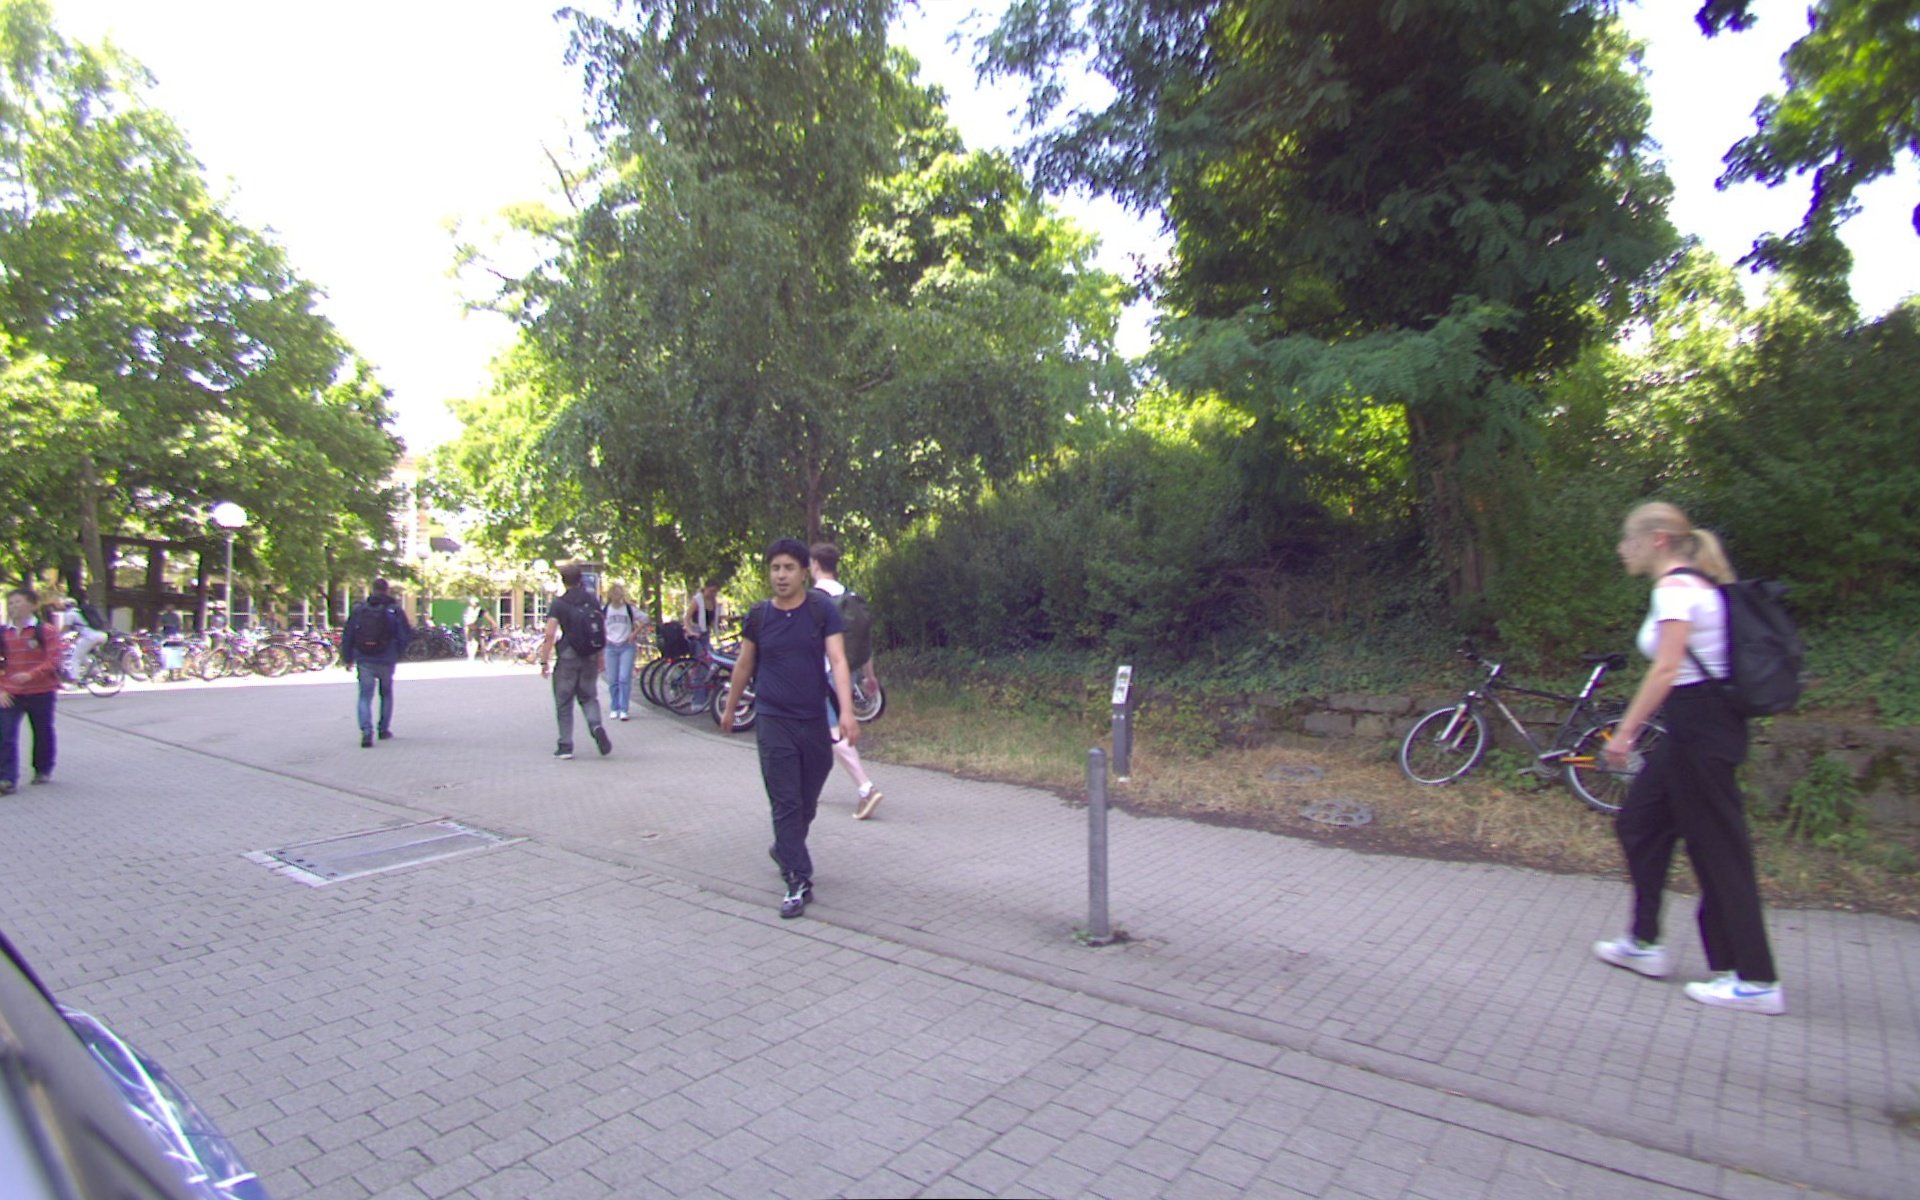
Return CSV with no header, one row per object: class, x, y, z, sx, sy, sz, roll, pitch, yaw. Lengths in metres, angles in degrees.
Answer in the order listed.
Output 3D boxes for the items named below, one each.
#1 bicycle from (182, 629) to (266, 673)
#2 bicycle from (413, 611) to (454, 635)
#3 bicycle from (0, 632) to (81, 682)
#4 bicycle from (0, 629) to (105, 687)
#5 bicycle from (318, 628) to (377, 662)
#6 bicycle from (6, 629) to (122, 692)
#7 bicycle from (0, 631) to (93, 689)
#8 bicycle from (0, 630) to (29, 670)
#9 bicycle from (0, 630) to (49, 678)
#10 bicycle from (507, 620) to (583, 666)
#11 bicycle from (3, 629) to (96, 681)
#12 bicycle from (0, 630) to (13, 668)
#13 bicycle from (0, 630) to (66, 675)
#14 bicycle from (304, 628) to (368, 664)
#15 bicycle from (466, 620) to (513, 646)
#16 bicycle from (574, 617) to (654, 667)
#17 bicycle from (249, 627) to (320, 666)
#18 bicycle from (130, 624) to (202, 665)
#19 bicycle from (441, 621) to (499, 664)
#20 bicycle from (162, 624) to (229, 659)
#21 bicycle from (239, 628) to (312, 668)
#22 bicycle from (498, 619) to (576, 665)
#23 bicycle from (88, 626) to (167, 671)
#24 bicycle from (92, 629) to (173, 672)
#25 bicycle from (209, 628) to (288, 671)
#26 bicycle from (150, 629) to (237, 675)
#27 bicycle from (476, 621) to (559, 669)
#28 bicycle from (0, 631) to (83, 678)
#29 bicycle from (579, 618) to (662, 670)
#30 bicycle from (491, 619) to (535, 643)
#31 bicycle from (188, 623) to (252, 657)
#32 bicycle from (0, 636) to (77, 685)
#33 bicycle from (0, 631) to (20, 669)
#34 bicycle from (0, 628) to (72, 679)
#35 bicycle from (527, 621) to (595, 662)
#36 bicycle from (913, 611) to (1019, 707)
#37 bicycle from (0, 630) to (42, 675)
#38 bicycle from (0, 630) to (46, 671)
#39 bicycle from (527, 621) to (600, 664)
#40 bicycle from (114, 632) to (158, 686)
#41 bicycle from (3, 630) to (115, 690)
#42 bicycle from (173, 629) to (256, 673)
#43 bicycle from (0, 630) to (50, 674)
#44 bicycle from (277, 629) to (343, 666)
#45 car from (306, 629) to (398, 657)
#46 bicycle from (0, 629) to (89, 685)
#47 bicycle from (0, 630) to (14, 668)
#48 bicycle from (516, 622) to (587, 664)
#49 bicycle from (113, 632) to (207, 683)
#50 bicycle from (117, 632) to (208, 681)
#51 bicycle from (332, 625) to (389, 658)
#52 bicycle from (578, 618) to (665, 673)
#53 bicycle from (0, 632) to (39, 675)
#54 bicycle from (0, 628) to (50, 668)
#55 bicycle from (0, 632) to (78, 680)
bicycle,-18.945,1.300,26.073,1.670,1.092,0.475,0,-1,-20
bicycle,-28.251,1.224,54.328,1.854,1.180,0.808,-3,-1,-22
bicycle,-22.086,1.345,24.183,0.469,1.116,1.693,-1,-1,12
bicycle,-19.372,1.221,21.561,1.752,1.177,0.475,0,-1,-38
bicycle,-20.144,1.480,33.294,1.676,1.092,0.474,-1,-1,2
bicycle,-17.822,1.172,20.169,0.472,1.168,1.682,-1,-1,30
bicycle,-19.955,1.276,21.966,0.471,1.177,1.684,-1,-1,26
bicycle,-28.088,1.459,29.205,0.496,1.135,1.720,-1,-1,34
bicycle,-24.282,1.372,25.664,0.534,1.208,1.682,-1,-1,30
bicycle,-10.666,1.096,26.042,1.748,1.118,0.475,0,-1,-12
bicycle,-21.636,1.286,24.088,0.469,1.166,1.693,-1,-1,12
bicycle,-29.735,1.492,30.578,1.603,1.152,0.498,0,-1,-37
bicycle,-24.469,1.351,26.390,0.472,1.116,1.683,-1,-1,27
bicycle,-19.778,1.447,32.084,1.673,1.092,0.475,-1,-1,-6
bicycle,-20.344,1.427,43.751,1.834,1.092,0.474,-1,-1,2
bicycle,-8.019,0.960,23.464,1.747,1.118,0.476,0,-1,-22
bicycle,-19.853,1.350,29.765,1.671,1.092,0.475,0,-1,-15
bicycle,-24.577,1.361,31.343,1.671,1.209,0.577,0,-1,-15
bicycle,-13.302,1.137,27.527,0.469,1.118,1.839,-1,-1,9
bicycle,-24.835,1.336,32.896,1.671,1.116,0.504,0,-1,-15
bicycle,-19.421,1.348,28.734,1.671,1.092,0.475,0,-1,-15
bicycle,-10.650,1.055,25.485,1.750,1.118,0.475,-1,-1,-7
bicycle,-23.589,1.352,28.703,0.500,1.229,1.684,-1,-1,27
bicycle,-22.835,1.389,27.952,0.500,1.116,1.684,-1,-1,27
bicycle,-19.059,1.323,27.122,1.671,1.092,0.475,0,-1,-15
bicycle,-18.993,1.284,25.097,1.671,1.092,0.475,0,-1,-16
bicycle,-10.644,1.070,24.375,1.750,1.118,0.475,-1,-1,-7
bicycle,-23.312,1.367,25.549,0.563,1.116,1.684,-1,-1,27
bicycle,-7.605,0.981,22.679,1.747,1.118,0.476,0,-1,-22
bicycle,-20.370,1.400,46.102,1.834,1.092,0.474,-1,-1,2
bicycle,-24.989,1.344,34.187,1.672,1.116,0.504,0,-1,-11
bicycle,-21.253,1.365,23.202,0.468,1.026,1.697,-1,-1,4
bicycle,-28.622,1.468,29.529,0.496,1.116,1.718,-1,-1,39
bicycle,-23.065,1.309,24.976,0.472,1.196,1.684,-1,-1,27
bicycle,-11.372,1.172,28.864,1.748,1.118,0.475,0,-1,-12
bicycle,0.040,0.671,12.201,0.466,1.055,1.705,-2,1,-29
bicycle,-25.340,1.380,26.628,0.472,1.154,1.684,-1,-1,27
bicycle,-26.834,1.409,28.369,0.494,1.116,1.725,-1,-1,26
bicycle,-10.574,1.120,27.010,1.748,1.118,0.475,0,-1,-12
bicycle,-17.871,1.260,21.939,1.699,1.092,0.501,-1,-1,43
bicycle,-18.699,1.223,21.039,0.473,1.177,1.680,-1,-1,33
bicycle,-19.450,1.317,26.421,1.670,1.092,0.475,0,-1,-20
bicycle,-24.924,1.369,26.417,0.472,1.116,1.684,-1,-1,27
bicycle,-19.804,1.438,30.843,1.673,1.092,0.475,-1,-1,-6
car,-37.416,2.617,62.400,1.835,1.630,4.482,0,-1,37
bicycle,-20.357,1.235,22.332,0.471,1.177,1.687,-1,-1,22
bicycle,-29.318,1.469,30.056,1.711,1.116,0.576,0,-1,-32
bicycle,-11.206,1.164,27.820,1.748,1.118,0.475,0,-1,-12
bicycle,-18.301,1.296,23.184,1.672,1.092,0.475,0,-1,-39
bicycle,-18.951,1.322,24.087,1.672,1.092,0.475,0,-1,-38
bicycle,-20.431,1.402,34.484,1.676,1.092,0.474,-1,-1,2
bicycle,-7.239,0.954,21.664,1.747,1.118,0.476,0,-1,-22
bicycle,-25.734,1.438,26.973,0.495,1.116,1.683,-1,-1,28
bicycle,-27.337,1.369,29.105,0.492,1.116,1.732,-1,-1,15
bicycle,-22.651,1.350,24.648,0.580,1.116,1.684,-1,-1,27
